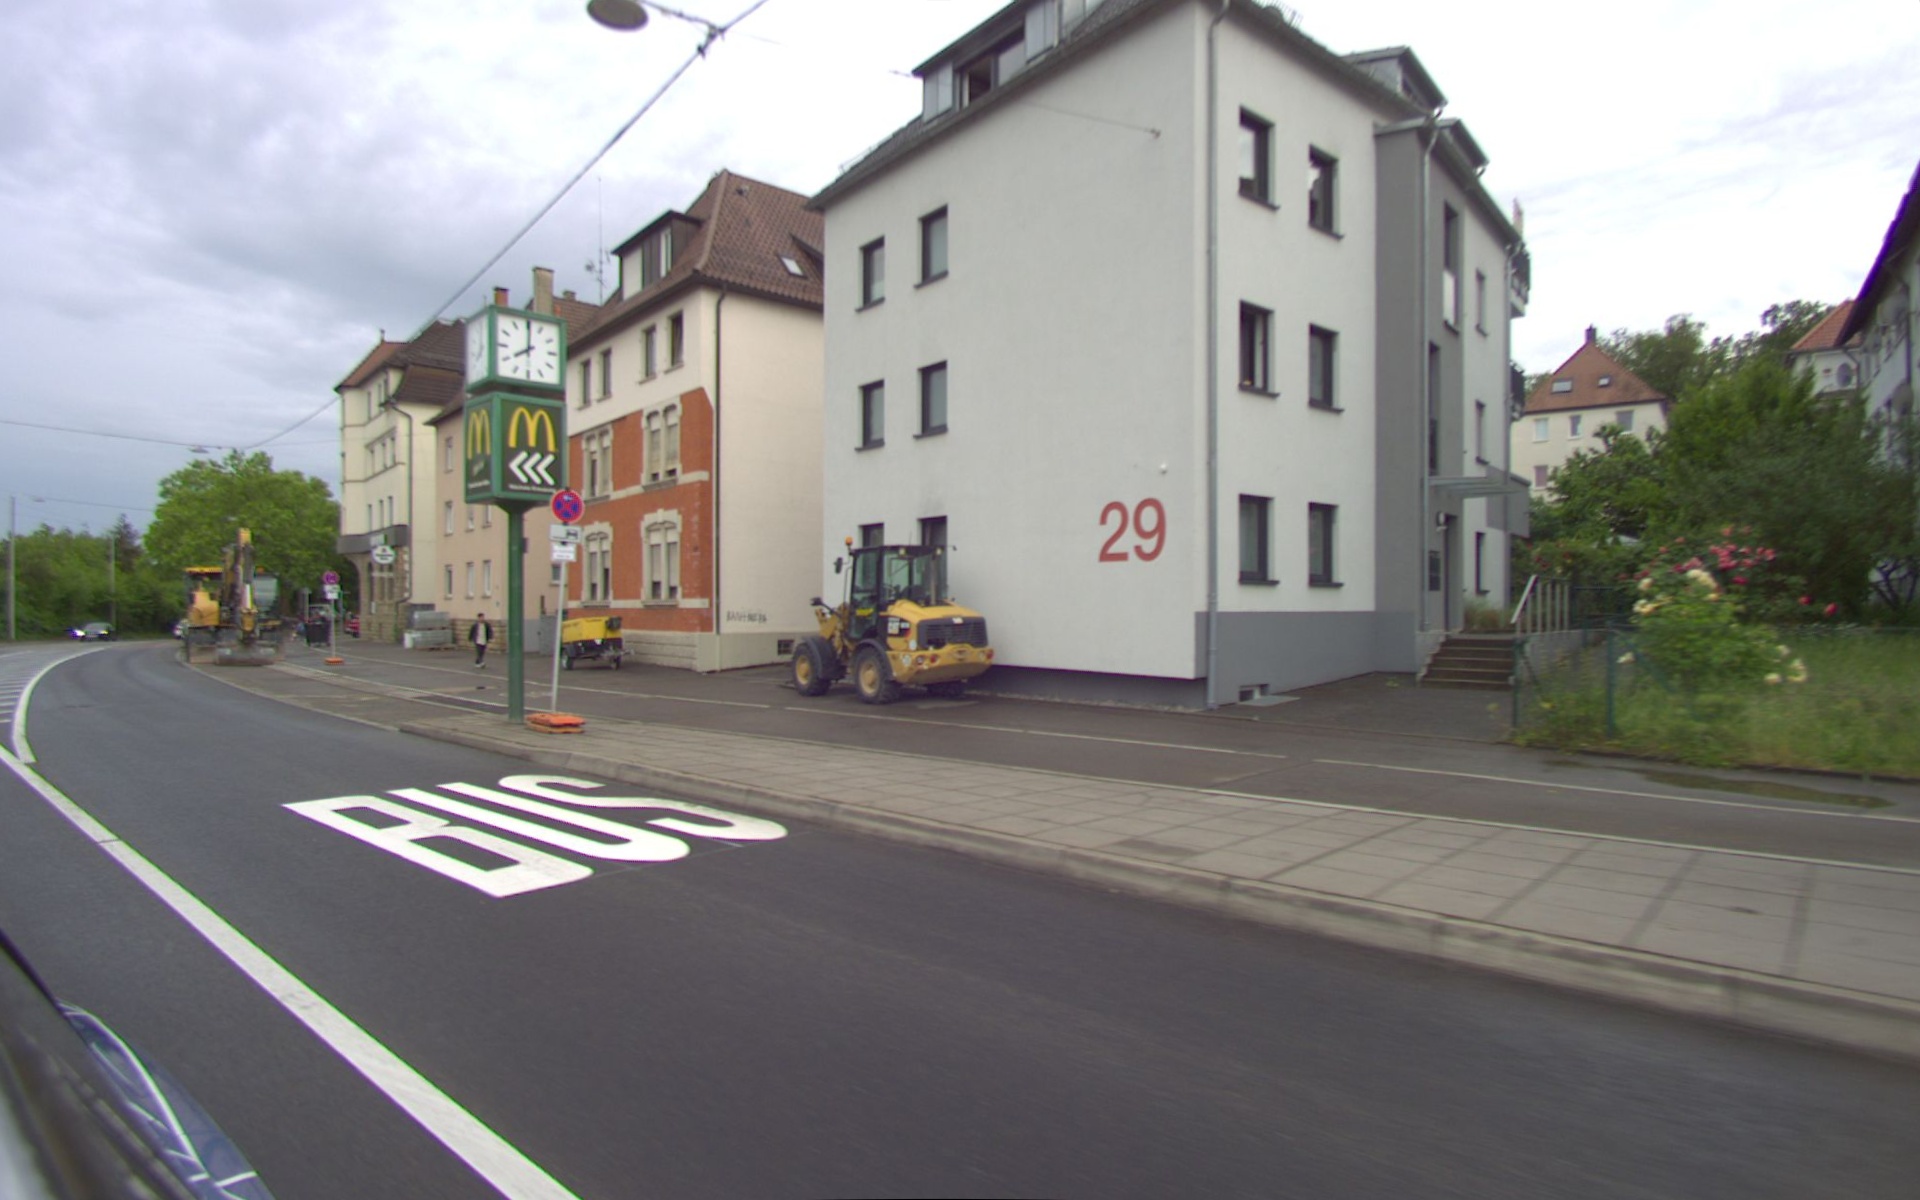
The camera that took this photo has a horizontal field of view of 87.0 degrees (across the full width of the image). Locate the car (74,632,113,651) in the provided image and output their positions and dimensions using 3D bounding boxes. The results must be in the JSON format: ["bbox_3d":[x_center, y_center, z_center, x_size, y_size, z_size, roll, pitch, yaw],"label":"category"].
[{"bbox_3d":[-64.466,3.046,75.366,1.580,1.312,3.723,-1,-1,-31],"label":"car"}]

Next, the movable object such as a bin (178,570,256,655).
[{"bbox_3d":[-36.627,0.676,50.113,2.909,3.873,8.147,0,-1,-35],"label":"movable object such as a bin"}]

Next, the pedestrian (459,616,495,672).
[{"bbox_3d":[-13.660,1.239,28.621,0.595,1.540,1.039,-1,-1,-42],"label":"pedestrian"}]

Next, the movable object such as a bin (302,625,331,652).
[{"bbox_3d":[-32.094,1.910,50.464,1.142,1.312,1.250,1,-1,-35],"label":"movable object such as a bin"}]

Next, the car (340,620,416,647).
[{"bbox_3d":[-37.277,2.101,64.854,3.937,1.677,1.914,1,-2,-40],"label":"car"}]

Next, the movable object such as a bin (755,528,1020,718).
[{"bbox_3d":[-1.437,0.372,17.677,2.102,2.828,4.988,-2,0,-38],"label":"movable object such as a bin"}]

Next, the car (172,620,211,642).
[{"bbox_3d":[-60.332,2.441,79.509,1.931,1.656,4.457,1,-2,-31],"label":"car"}]

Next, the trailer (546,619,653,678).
[{"bbox_3d":[-9.449,1.221,26.348,1.307,1.409,4.002,0,-1,-40],"label":"trailer"}]

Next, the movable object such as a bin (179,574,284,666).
[{"bbox_3d":[-26.754,0.751,37.118,2.788,3.136,4.641,1,-2,-40],"label":"movable object such as a bin"}]
